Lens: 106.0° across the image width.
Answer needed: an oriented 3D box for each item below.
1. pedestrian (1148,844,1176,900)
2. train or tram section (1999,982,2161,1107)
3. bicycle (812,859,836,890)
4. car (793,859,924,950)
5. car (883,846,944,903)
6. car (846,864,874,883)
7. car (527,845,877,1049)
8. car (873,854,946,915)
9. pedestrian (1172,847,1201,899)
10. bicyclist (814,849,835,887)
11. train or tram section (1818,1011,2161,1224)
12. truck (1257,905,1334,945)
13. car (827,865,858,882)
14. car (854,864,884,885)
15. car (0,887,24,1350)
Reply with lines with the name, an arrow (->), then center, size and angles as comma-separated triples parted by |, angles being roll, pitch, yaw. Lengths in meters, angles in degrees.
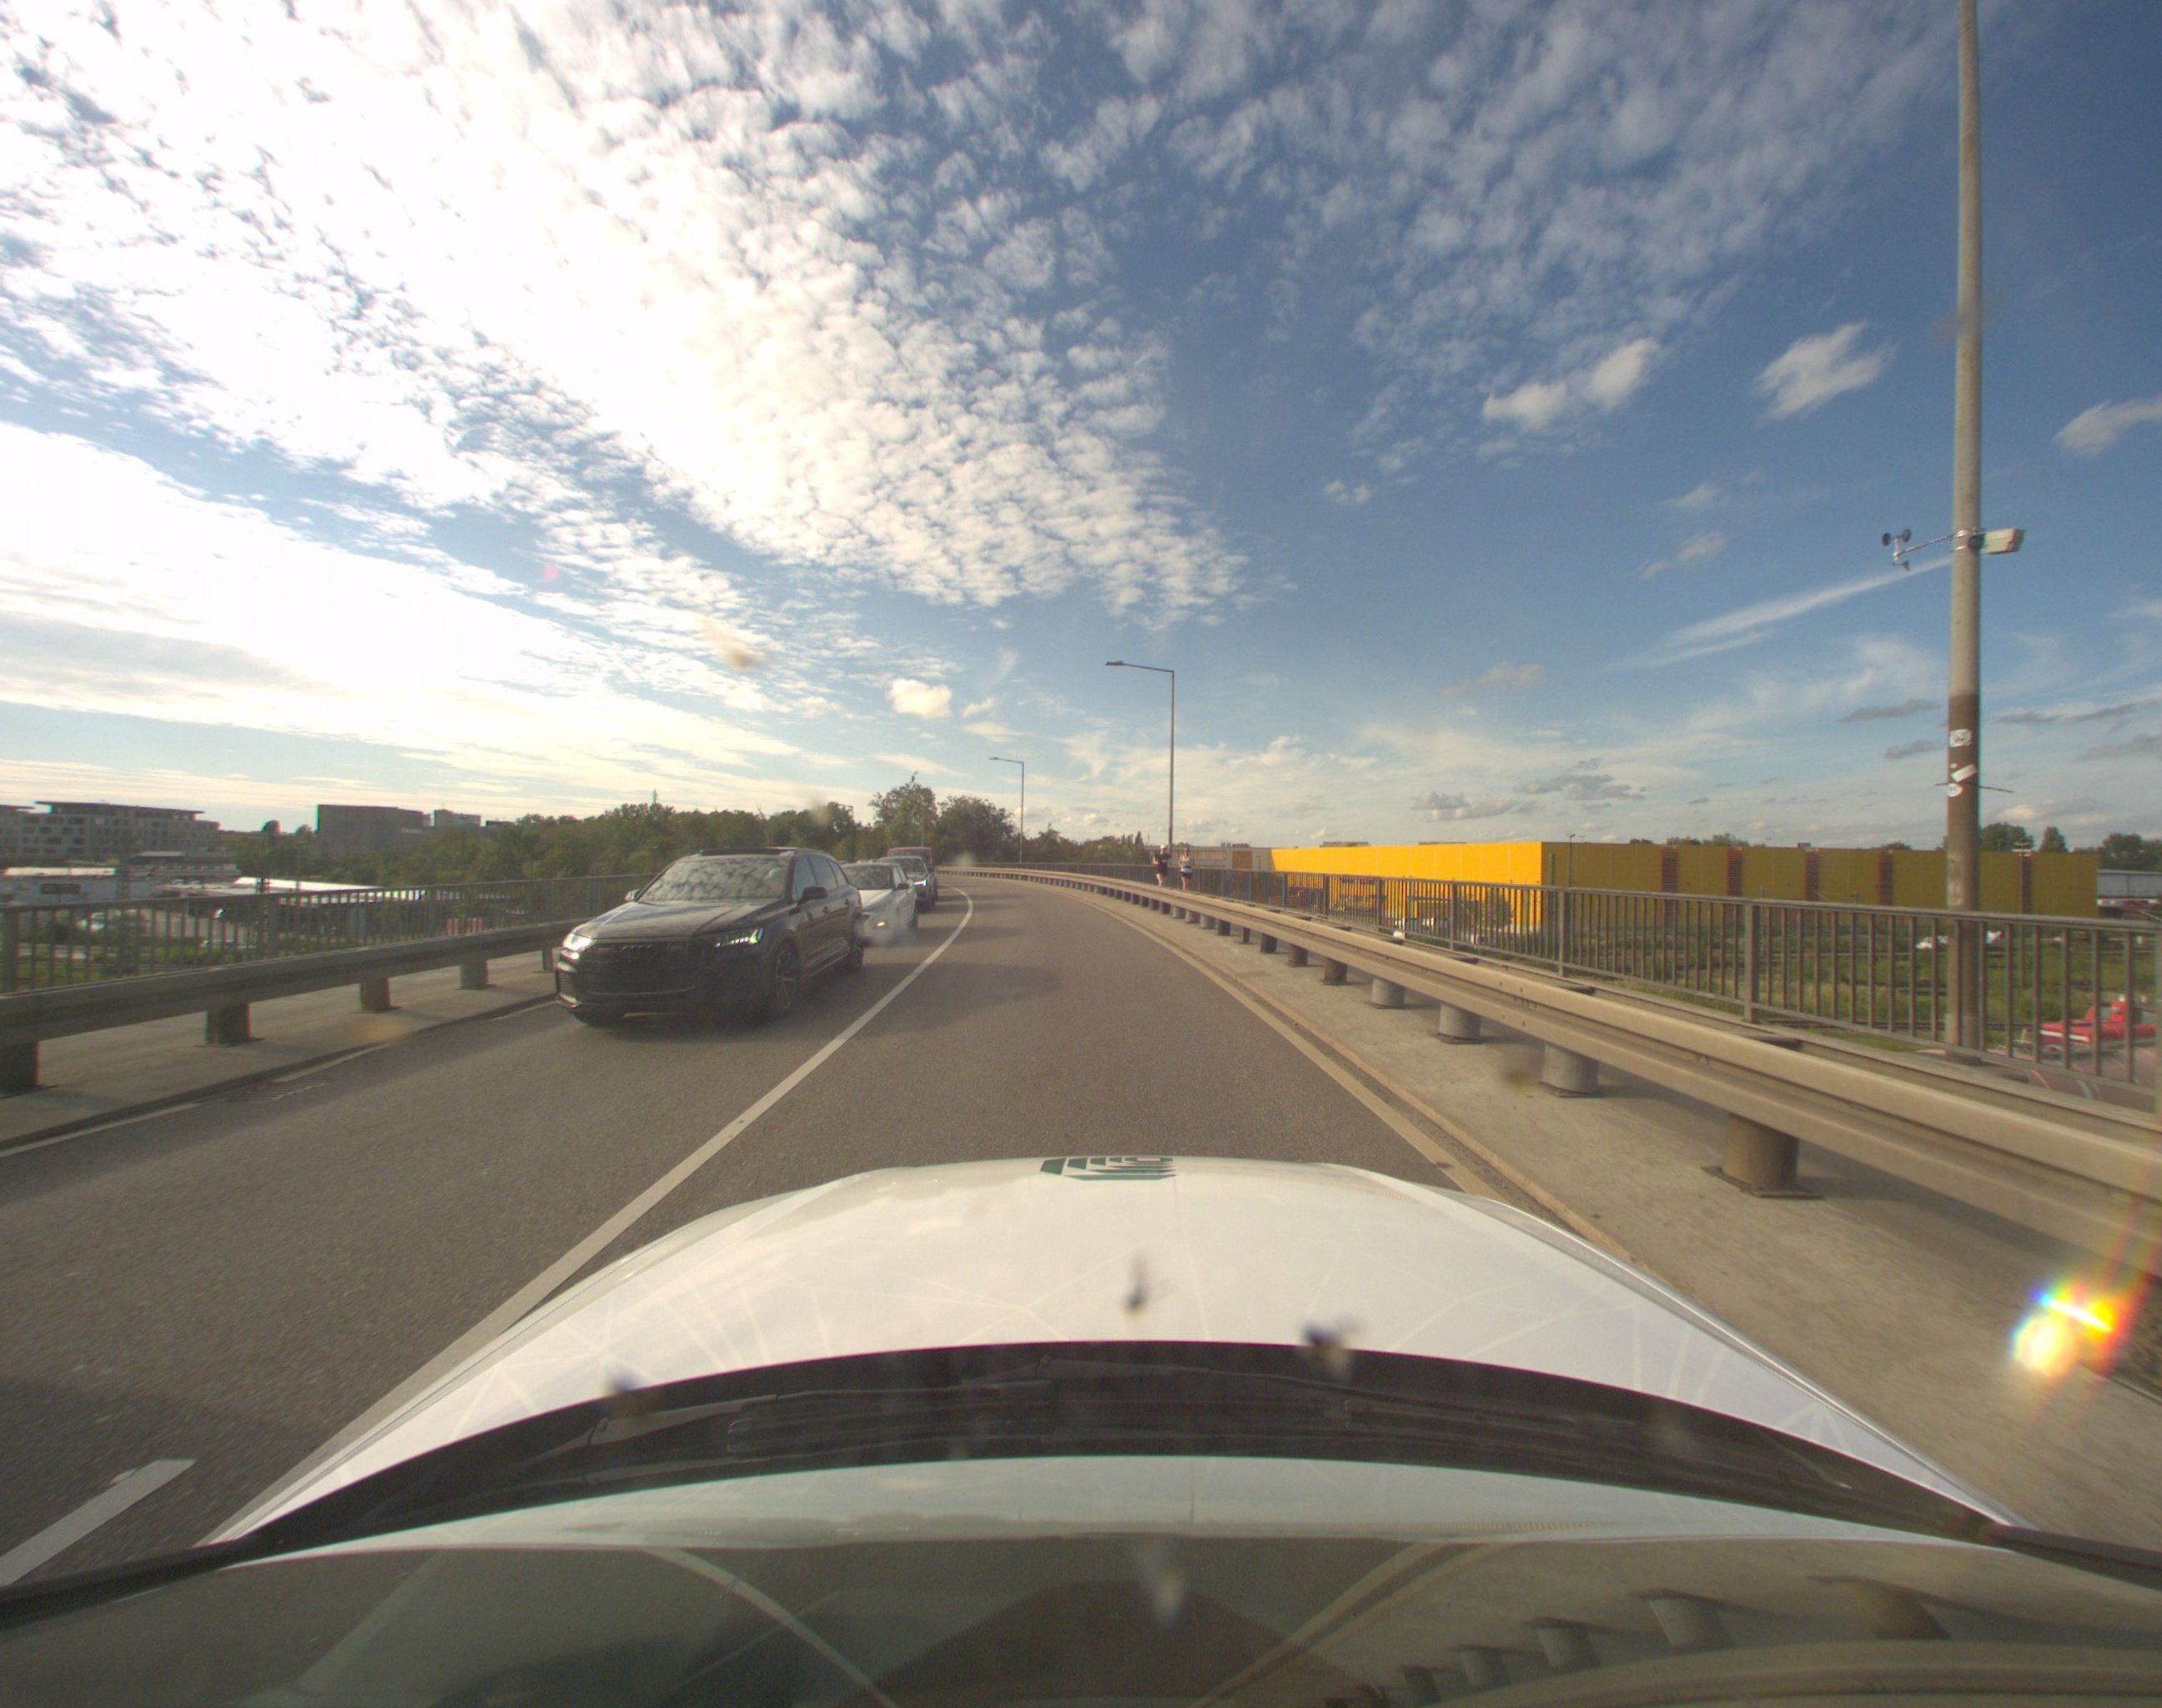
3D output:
pedestrian -> 2.462, 0.547, 24.841 | 0.675, 1.661, 0.864 | -1, -1, -5
train or tram section -> 50.254, 8.231, 37.091 | 17.258, 4.145, 3.084 | -1, -1, -12
bicycle -> -11.438, 0.891, 36.342 | 0.764, 1.331, 1.909 | -1, -1, -11
car -> -4.253, 0.886, 16.164 | 1.738, 1.501, 4.070 | -2, 0, -5
car -> -6.200, 0.705, 30.534 | 2.007, 1.903, 4.851 | -2, 0, -10
car -> -18.718, 1.629, 68.823 | 1.748, 1.501, 4.046 | -2, 0, -23
car -> -3.834, 0.788, 9.374 | 1.824, 1.672, 4.863 | -2, 0, -2
car -> -5.041, 0.835, 24.468 | 1.751, 1.609, 4.302 | -2, 0, -7
pedestrian -> 3.249, 0.582, 25.141 | 0.675, 1.543, 0.959 | -1, -1, -5
bicyclist -> -11.457, 0.622, 36.420 | 0.767, 1.660, 1.116 | -1, -1, -11
train or tram section -> 32.749, 8.249, 26.887 | 16.701, 4.712, 3.085 | -1, -1, -11
truck -> 25.625, 8.431, 97.214 | 8.592, 4.091, 2.657 | -1, 1, -11
car -> -22.209, 1.765, 75.779 | 1.752, 1.501, 4.036 | -2, 0, -32
car -> -15.966, 1.504, 61.208 | 1.747, 1.501, 4.049 | -2, 0, -21
car -> -4.470, 0.883, 0.485 | 1.753, 1.489, 4.448 | -2, 0, 2
